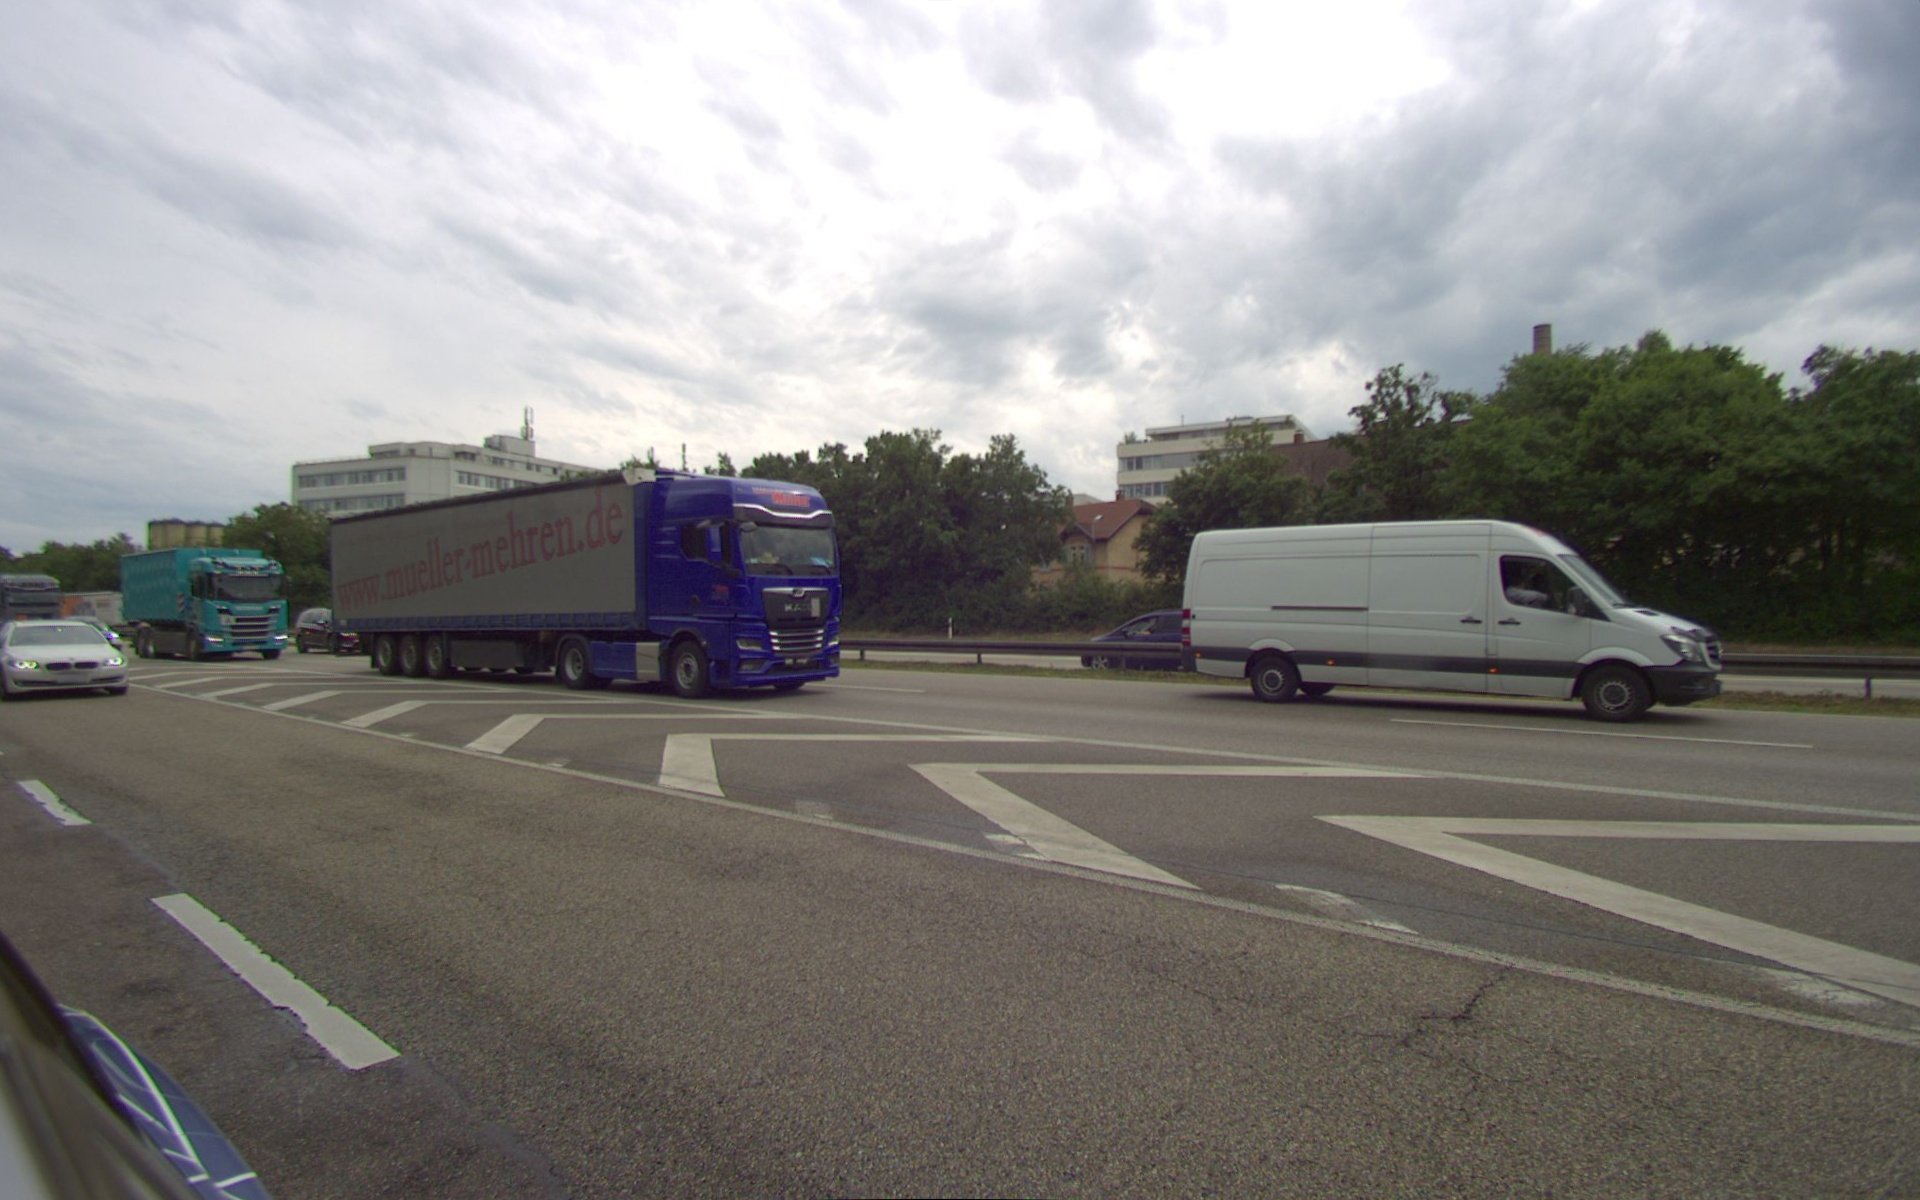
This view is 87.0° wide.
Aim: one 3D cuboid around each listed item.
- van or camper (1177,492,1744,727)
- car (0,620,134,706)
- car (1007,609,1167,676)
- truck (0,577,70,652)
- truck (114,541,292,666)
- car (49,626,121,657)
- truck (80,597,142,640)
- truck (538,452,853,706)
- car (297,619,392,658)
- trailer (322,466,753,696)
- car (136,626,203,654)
[{"bbox_3d":[6.715,0.179,14.428,6.951,2.641,2.028,-1,-2,40],"label":"van or camper"},{"bbox_3d":[-18.190,1.175,20.194,4.881,1.475,1.840,-1,-1,41],"label":"car"},{"bbox_3d":[3.244,1.059,26.177,3.742,1.598,1.779,-1,-1,38],"label":"car"},{"bbox_3d":[-54.729,0.880,57.854,13.123,3.955,3.288,-1,-1,37],"label":"truck"},{"bbox_3d":[-27.741,0.214,36.850,10.111,4.031,2.667,-1,-1,38],"label":"truck"},{"bbox_3d":[-40.019,1.881,46.266,3.994,1.332,1.736,-1,-1,38],"label":"car"},{"bbox_3d":[-76.260,1.678,90.850,7.521,3.790,1.979,-1,-2,32],"label":"truck"},{"bbox_3d":[-5.049,-0.274,18.823,5.919,3.991,2.643,-1,-1,38],"label":"truck"},{"bbox_3d":[-24.029,1.479,39.472,3.994,1.444,1.875,-1,-2,38],"label":"car"},{"bbox_3d":[-10.287,-0.199,22.971,13.901,4.005,2.647,-1,-1,38],"label":"trailer"},{"bbox_3d":[-42.476,2.129,54.369,4.049,1.444,1.875,-1,-2,38],"label":"car"}]
